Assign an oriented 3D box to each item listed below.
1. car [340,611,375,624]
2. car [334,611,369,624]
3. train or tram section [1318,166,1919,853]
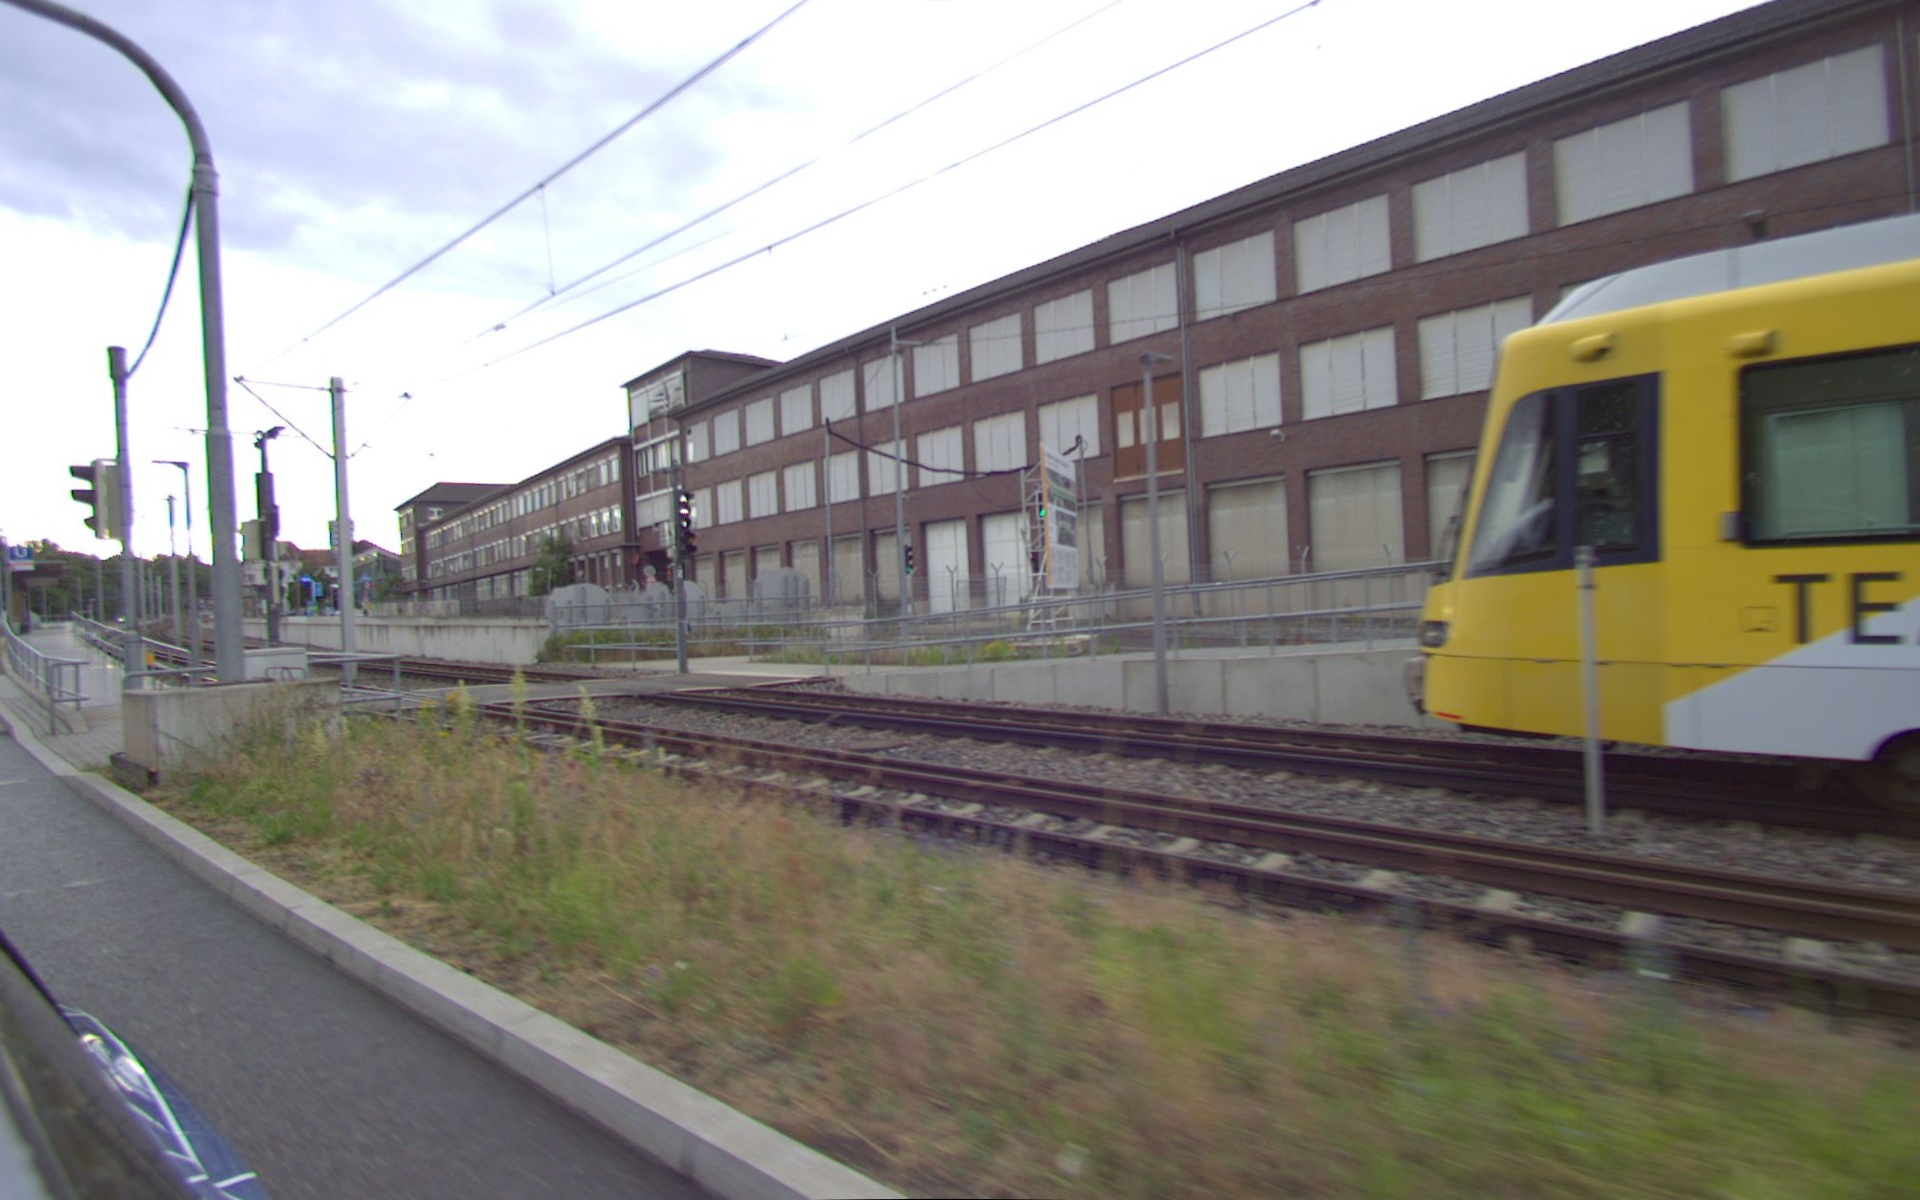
[{"bbox_3d":[-95.306,2.753,160.216,4.507,1.773,2.004,-2,-1,-38],"label":"car"},{"bbox_3d":[-97.335,2.785,161.836,4.507,1.773,2.004,-2,-1,-38],"label":"car"},{"bbox_3d":[11.174,-0.679,2.676,19.564,3.915,2.924,-2,1,42],"label":"train or tram section"}]
